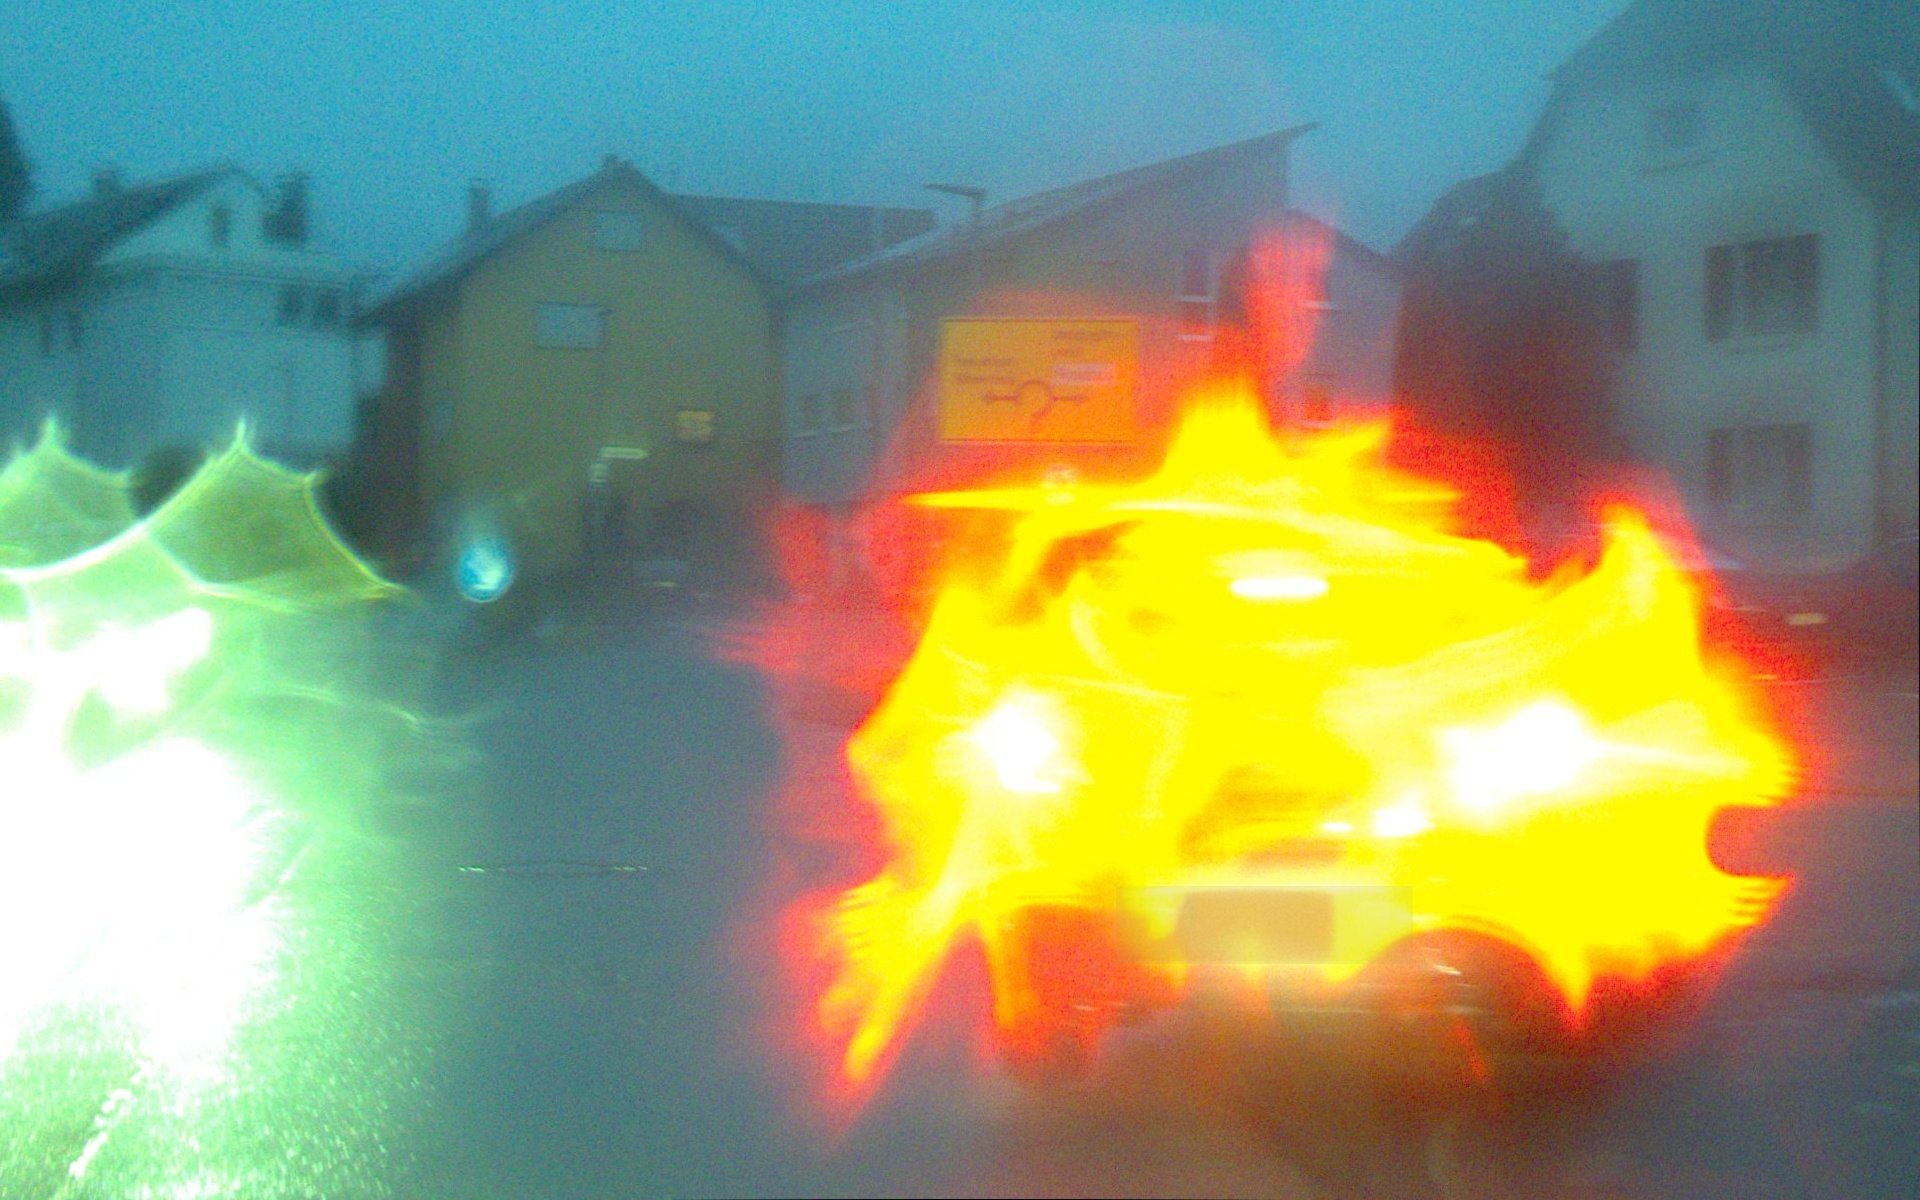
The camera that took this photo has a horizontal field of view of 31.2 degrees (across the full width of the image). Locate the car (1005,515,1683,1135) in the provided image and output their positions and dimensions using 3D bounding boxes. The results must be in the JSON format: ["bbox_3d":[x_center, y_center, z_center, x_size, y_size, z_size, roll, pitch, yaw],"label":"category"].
[{"bbox_3d":[1.294,0.511,10.159,1.547,1.461,3.696,1,1,13],"label":"car"}]

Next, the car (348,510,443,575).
[{"bbox_3d":[-15.265,-1.562,92.866,1.993,1.638,4.002,1,2,-17],"label":"car"}]

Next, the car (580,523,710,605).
[{"bbox_3d":[-6.851,-0.805,74.435,1.993,1.638,4.002,1,2,-17],"label":"car"}]

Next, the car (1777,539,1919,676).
[{"bbox_3d":[11.814,0.071,40.752,1.809,1.561,4.000,-2,2,-32],"label":"car"}]

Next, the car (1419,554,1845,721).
[{"bbox_3d":[7.083,0.347,36.670,1.809,1.623,4.551,-2,2,-32],"label":"car"}]

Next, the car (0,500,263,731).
[{"bbox_3d":[-6.679,0.058,27.238,1.912,1.647,4.001,1,1,-7],"label":"car"}]
